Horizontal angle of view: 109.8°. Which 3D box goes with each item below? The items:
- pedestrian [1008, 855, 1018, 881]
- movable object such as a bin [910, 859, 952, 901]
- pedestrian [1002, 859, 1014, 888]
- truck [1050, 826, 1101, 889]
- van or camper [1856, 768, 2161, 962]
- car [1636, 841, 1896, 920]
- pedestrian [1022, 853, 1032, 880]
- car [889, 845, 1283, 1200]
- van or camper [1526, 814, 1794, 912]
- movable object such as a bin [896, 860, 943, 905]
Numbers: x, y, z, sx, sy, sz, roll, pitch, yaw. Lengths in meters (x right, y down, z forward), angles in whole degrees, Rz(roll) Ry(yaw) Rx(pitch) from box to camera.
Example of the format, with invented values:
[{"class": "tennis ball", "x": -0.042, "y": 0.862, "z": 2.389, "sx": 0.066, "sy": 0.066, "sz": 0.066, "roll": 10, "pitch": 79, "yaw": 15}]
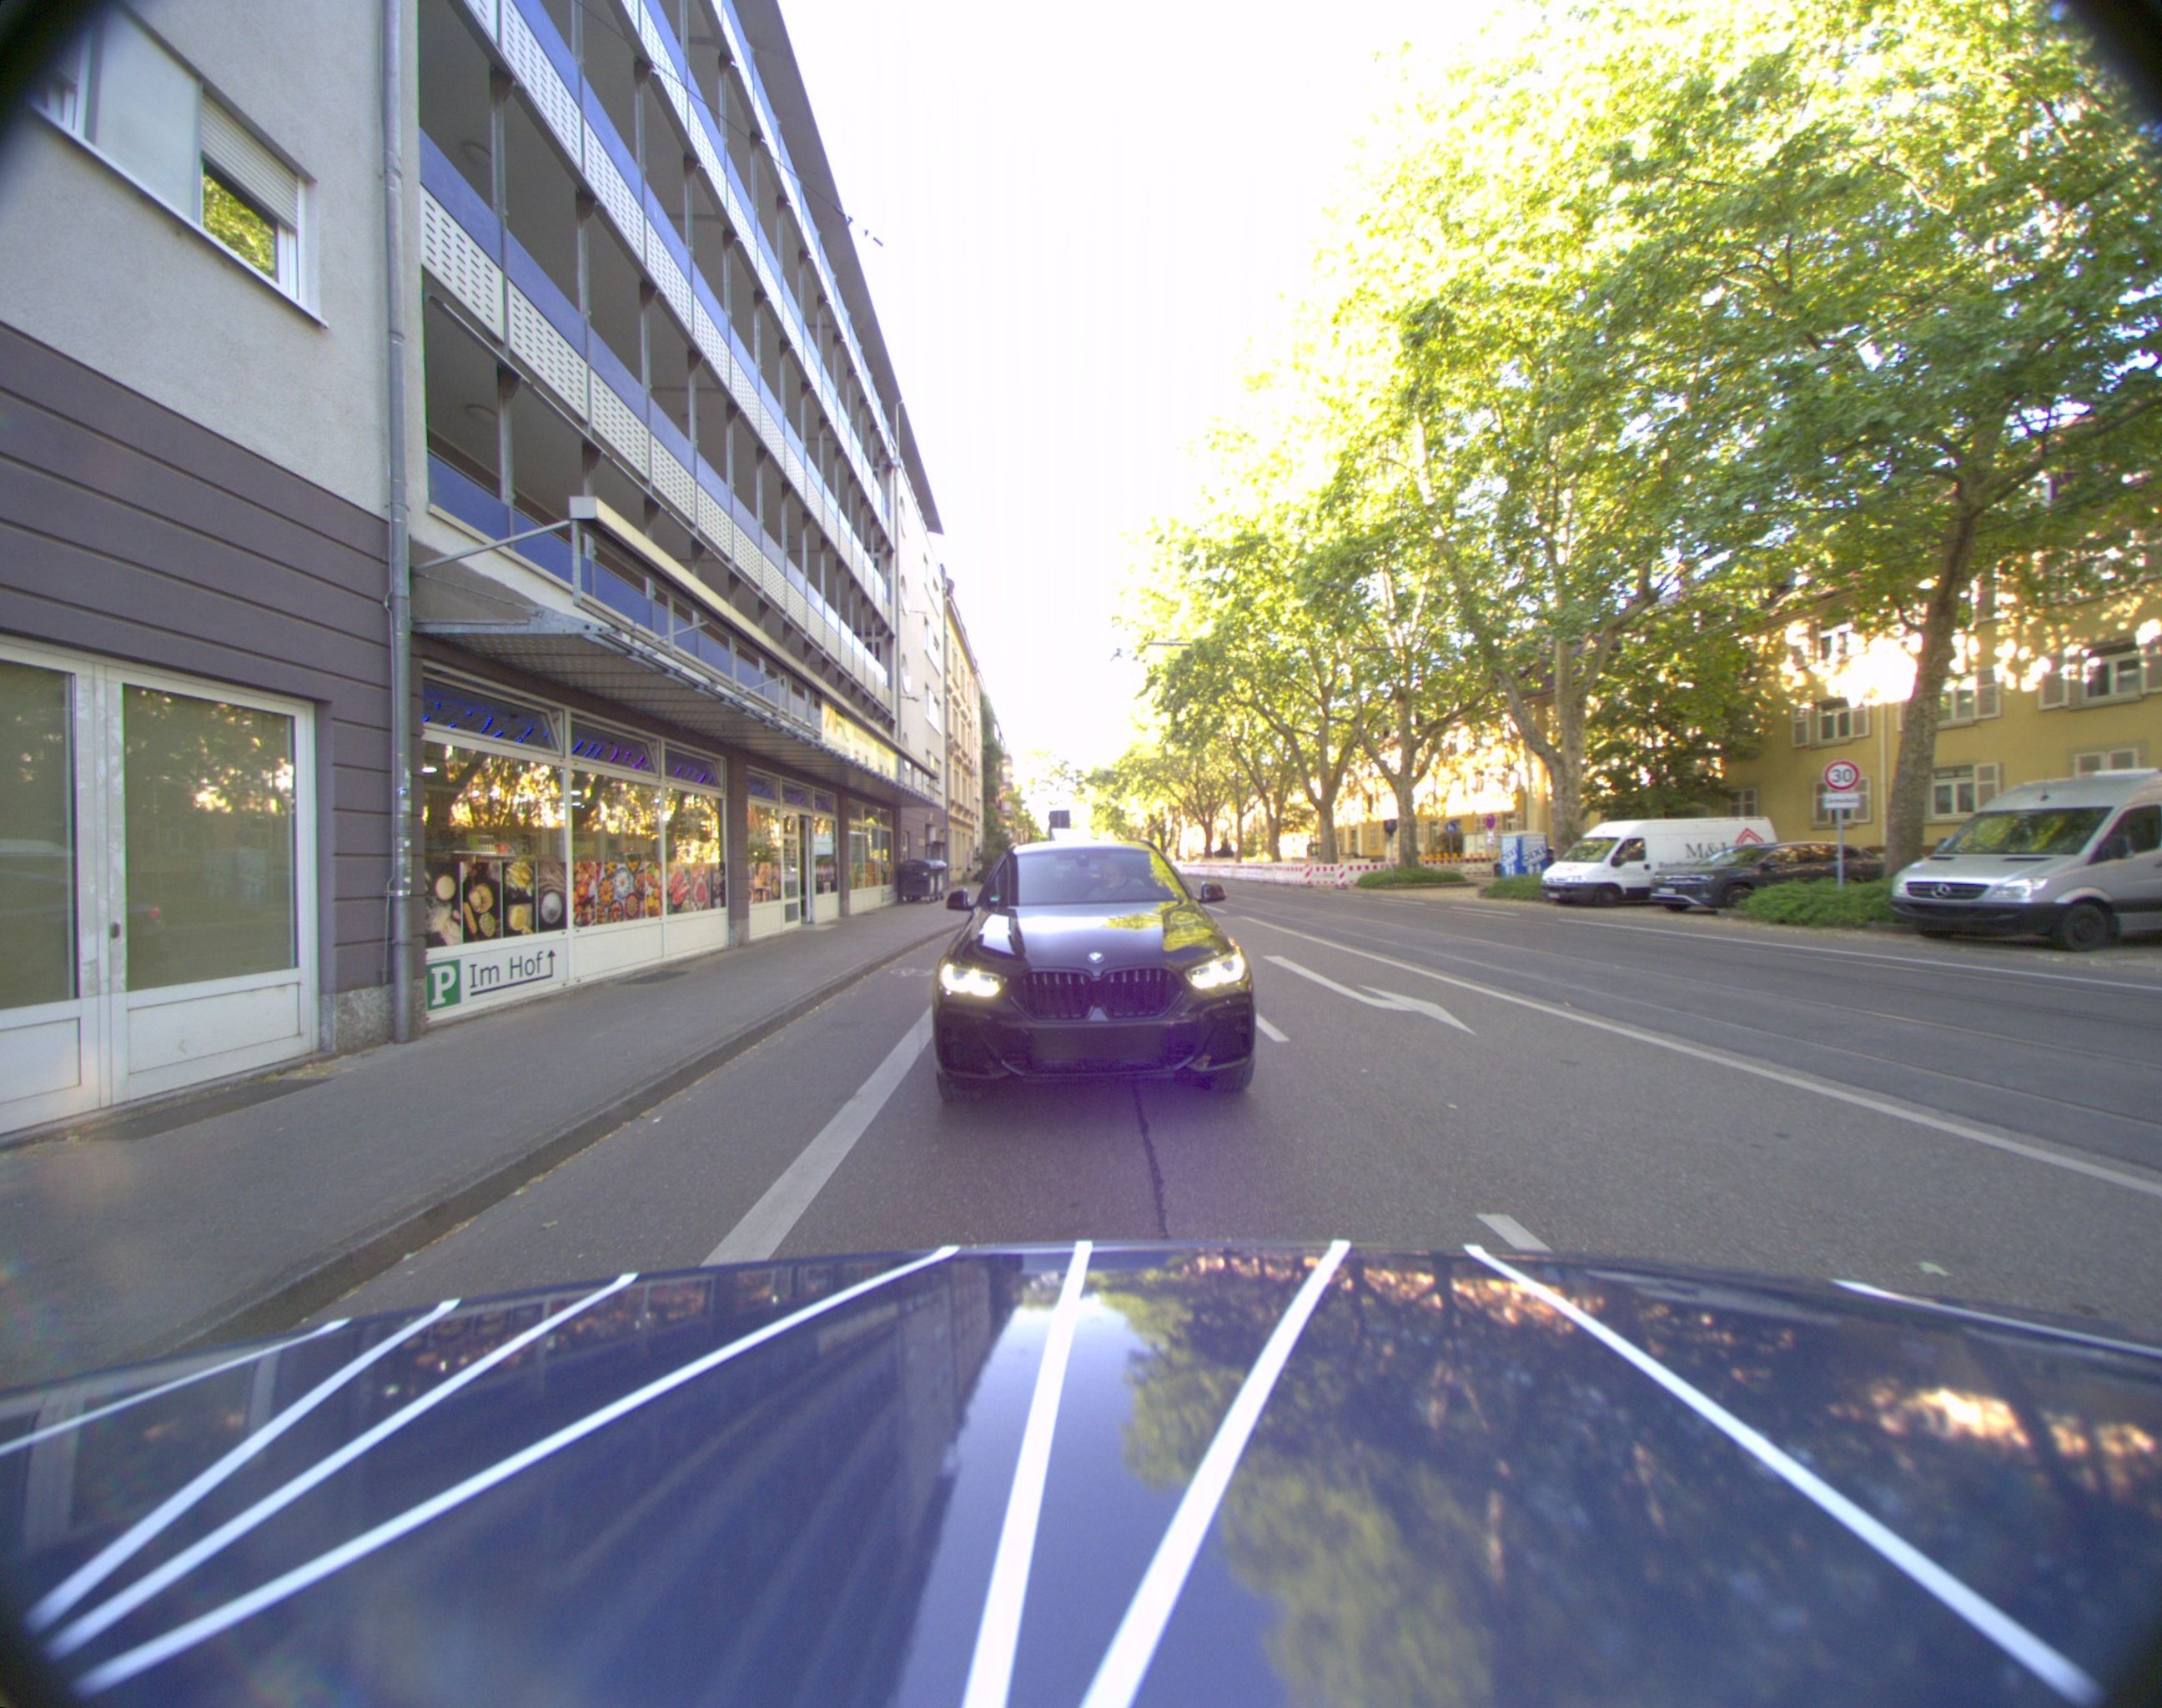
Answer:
[{"class": "pedestrian", "x": -4.431, "y": 0.911, "z": 49.414, "sx": 0.541, "sy": 1.662, "sz": 0.513, "roll": -1, "pitch": 0, "yaw": 1}, {"class": "movable object such as a bin", "x": -5.286, "y": 0.901, "z": 26.866, "sx": 1.203, "sy": 1.402, "sz": 1.372, "roll": -1, "pitch": 0, "yaw": 1}, {"class": "pedestrian", "x": -3.678, "y": 0.960, "z": 38.377, "sx": 0.541, "sy": 1.437, "sz": 0.630, "roll": -1, "pitch": 0, "yaw": 1}, {"class": "truck", "x": -0.378, "y": 0.133, "z": 41.078, "sx": 2.344, "sy": 3.095, "sz": 5.210, "roll": -2, "pitch": 1, "yaw": -4}, {"class": "van or camper", "x": 16.003, "y": 0.074, "z": 11.702, "sx": 5.931, "sy": 2.633, "sz": 2.156, "roll": -2, "pitch": 1, "yaw": 0}, {"class": "car", "x": 15.992, "y": 0.588, "z": 17.898, "sx": 4.540, "sy": 1.624, "sz": 1.693, "roll": -2, "pitch": 1, "yaw": 1}, {"class": "pedestrian", "x": -3.394, "y": 0.782, "z": 47.744, "sx": 0.541, "sy": 1.662, "sz": 0.630, "roll": -1, "pitch": 0, "yaw": 1}, {"class": "car", "x": 0.067, "y": 0.831, "z": 6.187, "sx": 1.930, "sy": 1.742, "sz": 4.683, "roll": -2, "pitch": 1, "yaw": 1}, {"class": "van or camper", "x": 15.869, "y": 0.223, "z": 21.069, "sx": 5.763, "sy": 2.371, "sz": 2.156, "roll": -2, "pitch": 1, "yaw": 0}, {"class": "movable object such as a bin", "x": -5.261, "y": 0.925, "z": 24.867, "sx": 1.203, "sy": 1.402, "sz": 1.372, "roll": -1, "pitch": 0, "yaw": 1}]
